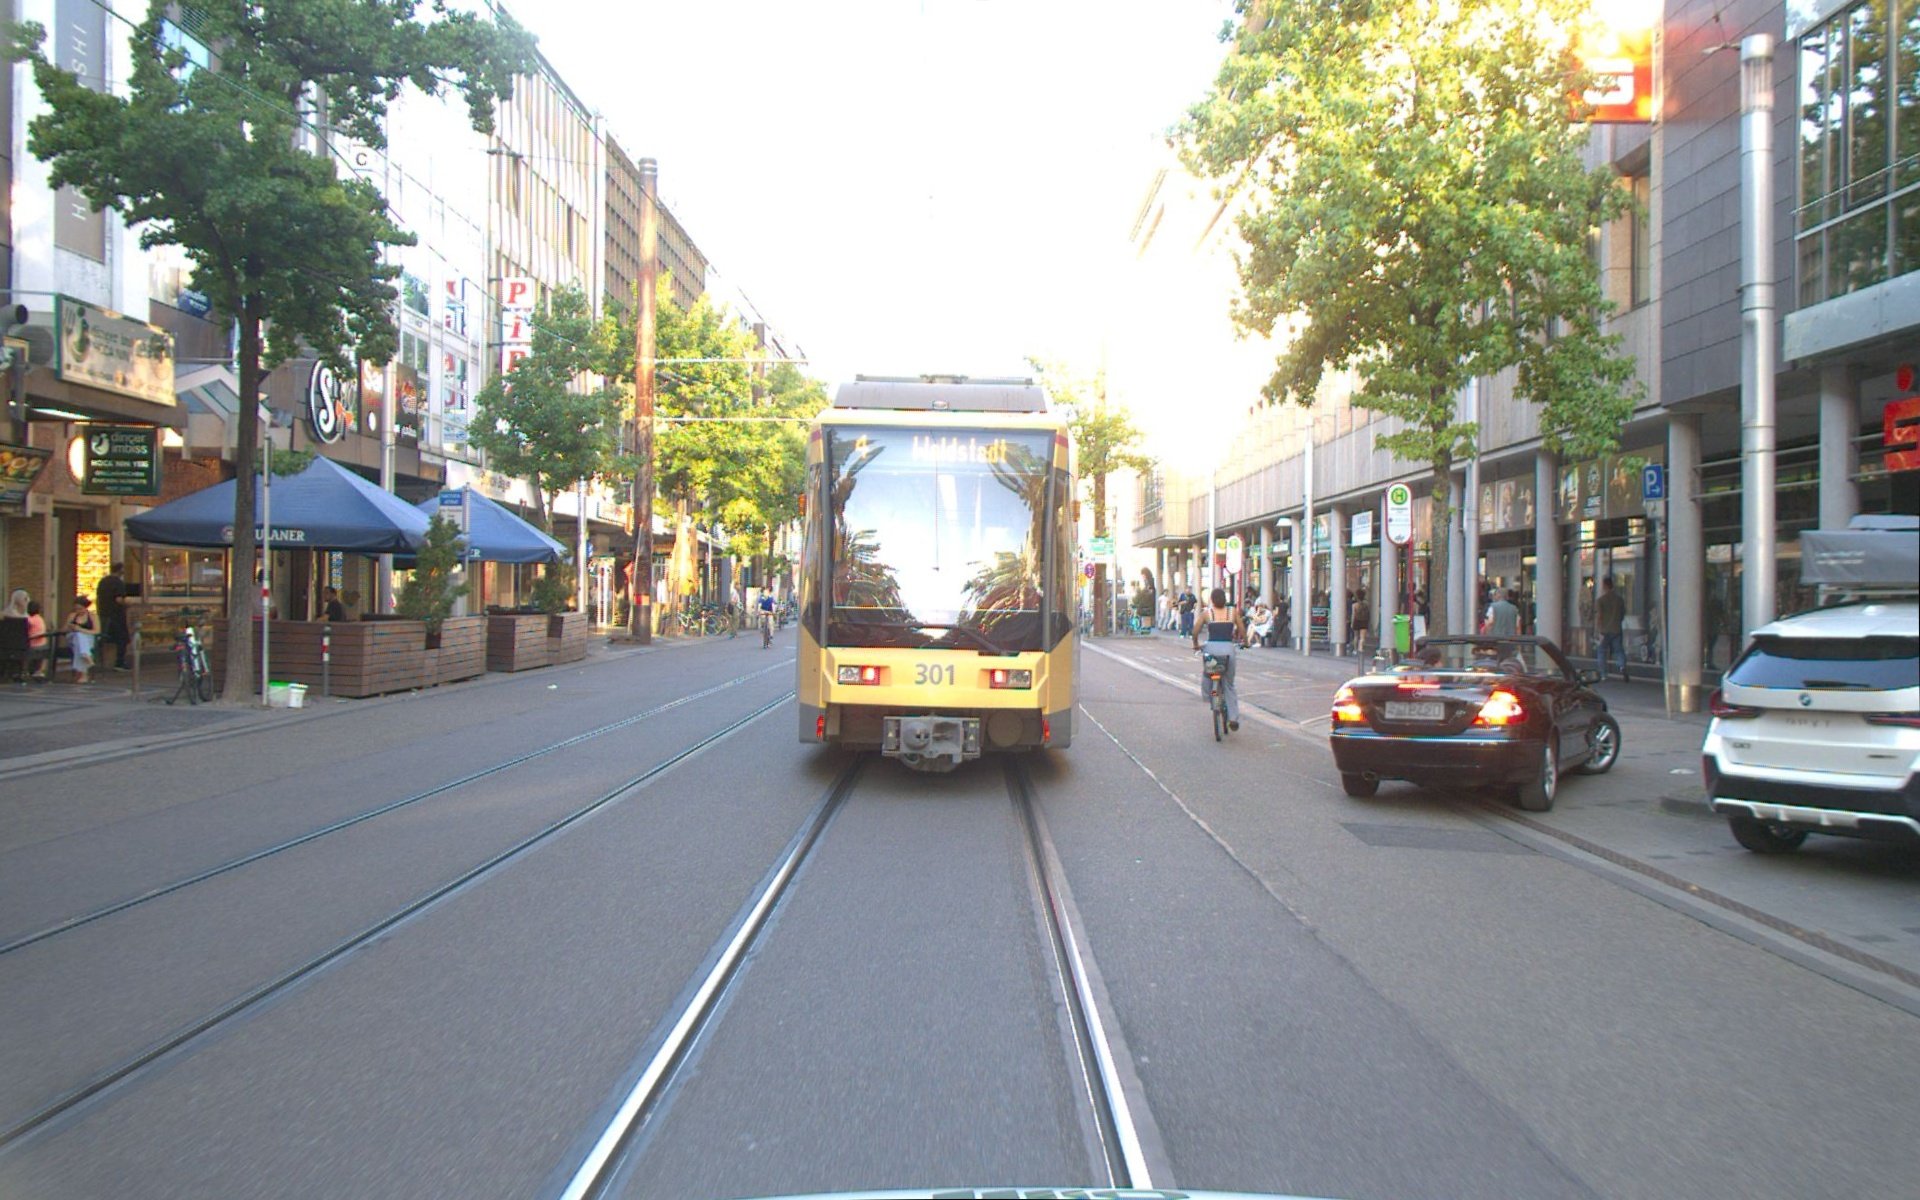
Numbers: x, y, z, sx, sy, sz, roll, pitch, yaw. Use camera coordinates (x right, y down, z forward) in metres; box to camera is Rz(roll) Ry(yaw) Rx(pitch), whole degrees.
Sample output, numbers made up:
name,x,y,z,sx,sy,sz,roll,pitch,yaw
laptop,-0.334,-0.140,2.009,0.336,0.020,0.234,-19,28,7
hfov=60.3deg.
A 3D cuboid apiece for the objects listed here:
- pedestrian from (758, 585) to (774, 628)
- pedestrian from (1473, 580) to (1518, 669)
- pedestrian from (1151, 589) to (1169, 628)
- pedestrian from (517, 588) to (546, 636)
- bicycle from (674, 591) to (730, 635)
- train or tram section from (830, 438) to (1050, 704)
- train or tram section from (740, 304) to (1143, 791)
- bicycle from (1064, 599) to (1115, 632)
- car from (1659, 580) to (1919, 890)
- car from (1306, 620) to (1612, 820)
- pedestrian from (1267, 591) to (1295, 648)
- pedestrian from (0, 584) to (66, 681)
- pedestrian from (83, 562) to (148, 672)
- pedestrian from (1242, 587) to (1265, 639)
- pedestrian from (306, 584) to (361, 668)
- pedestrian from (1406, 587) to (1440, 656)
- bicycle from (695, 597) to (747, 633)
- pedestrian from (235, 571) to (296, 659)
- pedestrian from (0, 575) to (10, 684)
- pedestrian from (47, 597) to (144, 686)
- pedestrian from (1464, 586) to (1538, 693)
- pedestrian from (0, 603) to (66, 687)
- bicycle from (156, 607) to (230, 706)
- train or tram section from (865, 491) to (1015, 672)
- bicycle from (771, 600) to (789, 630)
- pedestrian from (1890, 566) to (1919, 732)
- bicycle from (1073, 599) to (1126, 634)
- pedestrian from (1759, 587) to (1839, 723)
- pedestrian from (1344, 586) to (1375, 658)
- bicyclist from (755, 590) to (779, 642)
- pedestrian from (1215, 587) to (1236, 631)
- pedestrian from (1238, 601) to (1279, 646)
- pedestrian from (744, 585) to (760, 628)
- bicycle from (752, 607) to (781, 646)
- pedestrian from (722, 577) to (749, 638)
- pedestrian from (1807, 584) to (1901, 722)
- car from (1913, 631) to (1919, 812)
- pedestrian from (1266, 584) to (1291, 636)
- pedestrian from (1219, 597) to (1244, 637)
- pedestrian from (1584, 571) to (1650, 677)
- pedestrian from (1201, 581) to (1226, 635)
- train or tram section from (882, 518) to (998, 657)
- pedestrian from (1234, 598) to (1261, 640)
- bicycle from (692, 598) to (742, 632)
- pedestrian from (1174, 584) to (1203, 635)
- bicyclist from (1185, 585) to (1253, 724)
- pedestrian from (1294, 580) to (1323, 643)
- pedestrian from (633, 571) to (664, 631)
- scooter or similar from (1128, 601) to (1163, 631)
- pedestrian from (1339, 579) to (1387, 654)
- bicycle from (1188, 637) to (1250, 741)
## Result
name,x,y,z,sx,sy,sz,roll,pitch,yaw
pedestrian,-7.858,0.271,66.897,0.540,1.716,0.575,3,-1,-4
pedestrian,10.176,0.453,31.432,0.584,1.644,0.755,-1,1,0
pedestrian,9.070,0.390,75.049,0.686,1.714,0.680,-1,1,0
pedestrian,-12.347,0.343,47.682,0.562,1.342,0.725,3,-1,0
bicycle,-8.767,0.449,56.242,1.766,1.384,0.658,4,-1,-12
train or tram section,-0.326,-0.401,27.838,2.946,3.585,10.400,1,0,-1
train or tram section,-0.191,-0.371,17.447,2.955,3.585,10.368,1,0,-1
bicycle,6.112,0.728,78.156,2.282,1.497,0.790,1,-1,-4
car,6.754,0.715,10.918,4.154,1.666,1.900,-3,1,-32
car,4.536,0.913,14.558,1.767,1.372,4.440,0,1,28
pedestrian,9.583,0.572,49.327,0.686,1.666,0.646,-1,1,0
pedestrian,-12.670,0.440,22.545,0.547,1.280,0.606,3,-1,4
pedestrian,-12.750,0.255,24.983,0.591,1.624,0.561,3,-1,2
pedestrian,10.836,0.476,61.027,0.686,1.871,0.829,-1,1,0
pedestrian,-9.911,0.410,26.182,0.547,1.278,0.606,3,-1,1
pedestrian,11.363,0.517,40.636,0.584,1.644,0.829,-1,1,0
bicycle,-8.375,0.533,57.997,1.700,1.146,0.612,3,-1,-7
pedestrian,-10.438,0.221,24.860,0.591,1.278,0.561,3,-1,2
pedestrian,-12.565,0.370,21.078,0.433,1.397,0.606,3,-1,10
pedestrian,-11.831,0.559,22.645,0.804,1.140,0.779,3,-1,10
pedestrian,8.411,0.599,25.745,0.859,1.609,0.755,2,1,-1
pedestrian,-12.055,0.583,21.401,0.444,1.047,0.660,3,-1,30
bicycle,-9.665,0.682,20.819,0.801,1.122,2.148,1,1,-26
train or tram section,-0.459,-0.370,38.471,2.942,3.585,10.843,1,0,-1
bicycle,-7.240,0.620,66.472,0.599,1.146,2.249,3,-1,-5
pedestrian,10.916,0.527,18.250,0.859,1.813,0.755,-1,1,-1
bicycle,6.242,0.752,74.065,2.282,1.497,0.790,1,-1,-4
pedestrian,10.477,0.671,20.670,0.584,1.644,0.755,-1,1,-1
pedestrian,10.619,0.582,43.953,0.584,1.871,0.829,-1,1,0
bicyclist,-5.414,0.460,46.385,0.608,1.441,0.699,1,-1,-3
pedestrian,10.604,0.345,66.053,0.686,1.714,0.680,-1,1,0
pedestrian,9.157,0.708,50.737,1.089,1.351,0.926,-1,0,1
pedestrian,-8.499,0.270,67.547,0.563,1.716,0.551,3,-1,-10
bicycle,-5.412,0.734,46.330,0.628,1.040,1.588,2,0,-2
pedestrian,-7.233,0.242,53.388,0.736,1.912,0.575,3,-1,-4
pedestrian,11.054,0.631,20.479,0.584,1.644,1.022,-1,1,-1
car,7.013,0.806,8.218,4.115,1.483,1.851,-3,0,-24
pedestrian,11.529,0.358,59.889,0.686,1.871,0.829,-1,1,0
pedestrian,9.250,0.574,56.305,0.724,1.351,0.720,-1,1,1
pedestrian,11.841,0.419,29.812,0.815,1.868,0.944,-1,1,0
pedestrian,8.589,0.278,56.069,0.733,1.813,0.891,1,-1,3
train or tram section,-0.597,-0.333,49.168,2.982,3.585,10.529,2,0,-1
pedestrian,9.470,0.618,54.507,0.789,1.351,0.626,-1,1,1
bicycle,-8.871,0.547,60.427,1.699,1.146,0.563,3,-1,-4
pedestrian,8.189,0.342,59.272,0.870,1.813,0.751,1,-1,-2
bicyclist,3.013,0.626,19.240,0.711,1.553,0.734,2,-1,9
pedestrian,10.643,0.349,50.571,0.686,1.871,0.829,-1,1,0
pedestrian,-10.835,0.047,57.549,0.831,2.049,0.921,1,-1,0
scooter or similar,7.704,0.650,68.638,1.356,1.232,0.514,0,-1,-14
pedestrian,10.671,0.428,43.842,1.031,1.909,0.929,-1,1,0
bicycle,2.995,1.002,19.228,0.642,1.079,2.058,2,0,8
